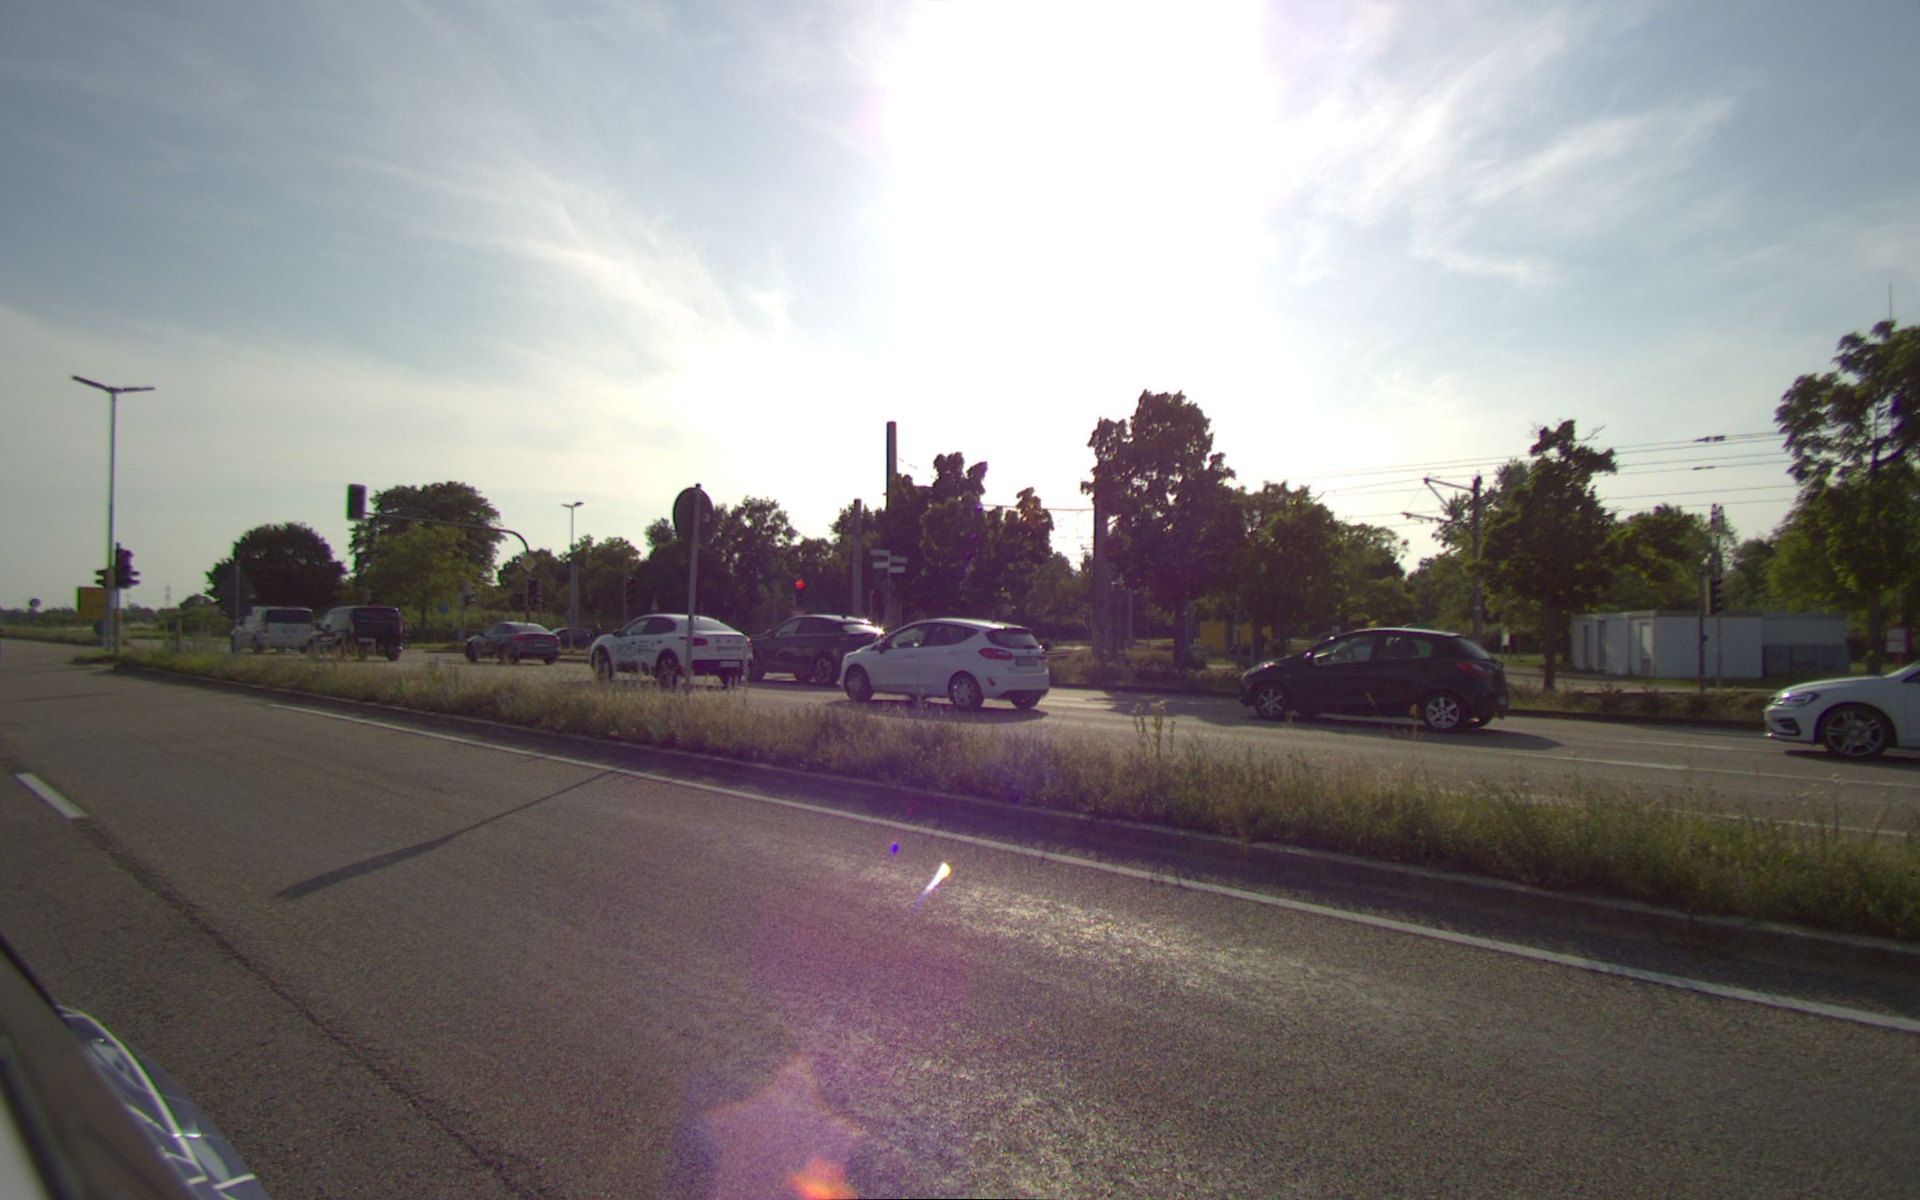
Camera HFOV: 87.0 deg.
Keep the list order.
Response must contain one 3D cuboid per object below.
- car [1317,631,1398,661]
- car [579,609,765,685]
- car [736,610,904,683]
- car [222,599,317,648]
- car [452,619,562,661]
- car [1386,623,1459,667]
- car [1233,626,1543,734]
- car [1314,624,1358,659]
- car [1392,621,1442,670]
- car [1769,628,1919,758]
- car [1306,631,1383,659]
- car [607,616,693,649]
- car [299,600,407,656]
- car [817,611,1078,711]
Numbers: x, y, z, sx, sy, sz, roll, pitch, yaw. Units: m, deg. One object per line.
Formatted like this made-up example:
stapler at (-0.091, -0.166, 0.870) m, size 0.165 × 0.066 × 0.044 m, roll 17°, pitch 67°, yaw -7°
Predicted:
car at (22.474, 2.580, 57.347) m, size 3.959 × 1.549 × 1.993 m, roll -1°, pitch 0°, yaw 12°
car at (-6.445, 1.000, 22.363) m, size 4.582 × 1.519 × 1.733 m, roll -1°, pitch -3°, yaw 42°
car at (-3.405, 1.081, 24.227) m, size 3.998 × 1.602 × 1.778 m, roll -1°, pitch -3°, yaw 41°
car at (-28.387, 0.970, 41.528) m, size 5.077 × 1.843 × 1.972 m, roll -1°, pitch -4°, yaw 42°
car at (-15.746, 1.367, 35.070) m, size 4.372 × 1.355 × 1.838 m, roll -1°, pitch -3°, yaw 42°
car at (21.715, 2.072, 47.488) m, size 3.619 × 1.891 × 1.837 m, roll -1°, pitch 0°, yaw -42°
car at (6.321, 1.114, 15.200) m, size 3.998 × 1.391 × 1.643 m, roll -1°, pitch -3°, yaw 41°
car at (17.584, 1.900, 47.433) m, size 1.820 × 1.431 × 3.974 m, roll -1°, pitch 0°, yaw 20°
car at (19.704, 1.927, 43.713) m, size 1.822 × 1.891 × 3.647 m, roll -1°, pitch 0°, yaw 23°
car at (11.653, 1.036, 10.952) m, size 4.466 × 1.391 × 1.643 m, roll -1°, pitch -3°, yaw 41°
car at (22.844, 2.683, 60.218) m, size 3.959 × 1.549 × 1.993 m, roll -1°, pitch 0°, yaw 12°
car at (-19.482, 2.011, 63.841) m, size 2.250 × 1.901 × 4.787 m, roll -1°, pitch 0°, yaw 36°
car at (-20.746, 0.956, 34.531) m, size 4.527 × 1.759 × 1.838 m, roll -1°, pitch -3°, yaw 42°
car at (-0.306, 0.965, 17.050) m, size 4.293 × 1.481 × 1.799 m, roll -1°, pitch -3°, yaw 42°
